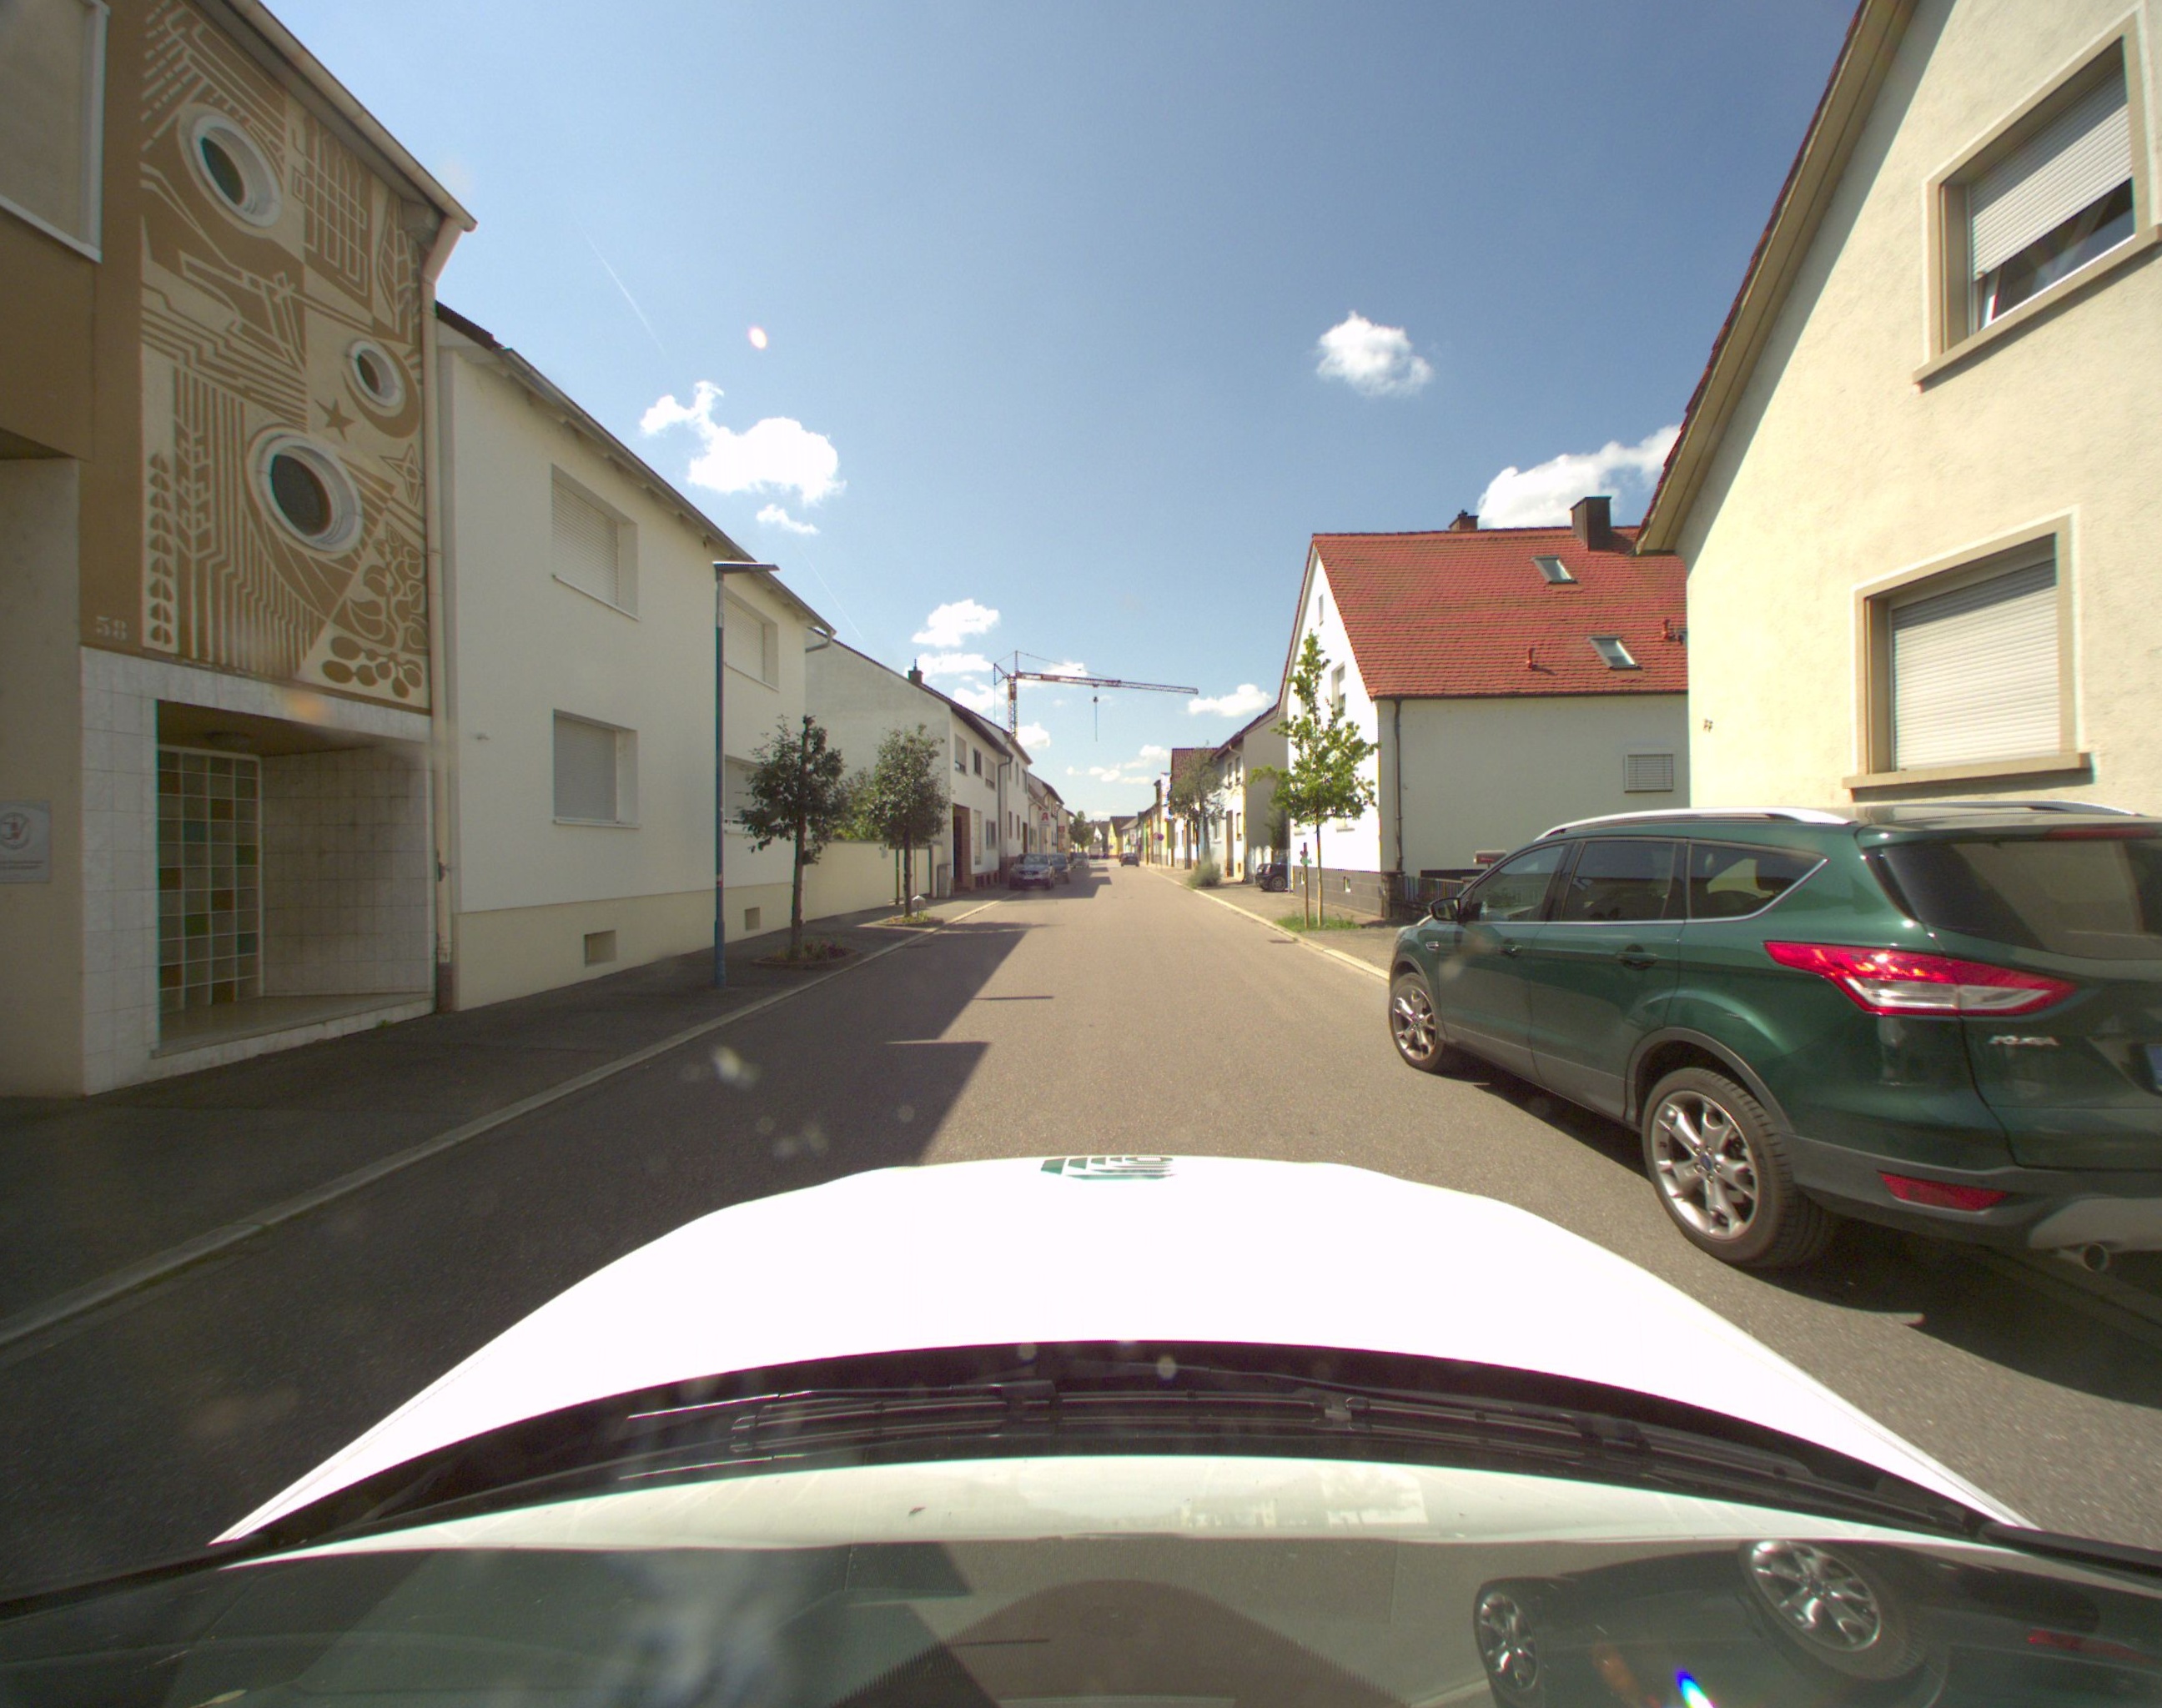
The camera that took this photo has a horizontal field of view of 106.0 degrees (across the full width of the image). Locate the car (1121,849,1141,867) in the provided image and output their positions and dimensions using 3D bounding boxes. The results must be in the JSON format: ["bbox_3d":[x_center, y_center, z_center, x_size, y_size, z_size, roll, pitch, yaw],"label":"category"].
[{"bbox_3d":[5.141,0.438,84.144,1.776,1.753,4.000,-2,0,1],"label":"car"}]

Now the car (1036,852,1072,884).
[{"bbox_3d":[-1.362,0.697,42.867,1.647,1.609,4.062,-1,0,1],"label":"car"}]

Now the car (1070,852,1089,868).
[{"bbox_3d":[-0.107,0.551,82.281,1.716,1.555,4.175,0,0,2],"label":"car"}]

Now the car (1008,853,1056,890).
[{"bbox_3d":[-2.130,0.734,36.418,1.752,1.525,4.290,-1,0,1],"label":"car"}]

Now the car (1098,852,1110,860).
[{"bbox_3d":[5.337,0.415,189.313,1.786,1.753,4.207,-2,0,-15],"label":"car"}]

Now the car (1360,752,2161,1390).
[{"bbox_3d":[3.103,0.574,4.359,1.723,1.717,4.275,-1,0,0],"label":"car"}]

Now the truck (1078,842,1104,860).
[{"bbox_3d":[2.132,-0.579,183.486,3.378,3.865,13.882,-2,0,-9],"label":"truck"}]

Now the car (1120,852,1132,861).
[{"bbox_3d":[7.843,0.476,142.138,1.777,1.564,4.336,-2,0,0],"label":"car"}]

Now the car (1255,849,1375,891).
[{"bbox_3d":[8.473,0.568,29.722,3.906,1.415,1.741,-1,0,2],"label":"car"}]
